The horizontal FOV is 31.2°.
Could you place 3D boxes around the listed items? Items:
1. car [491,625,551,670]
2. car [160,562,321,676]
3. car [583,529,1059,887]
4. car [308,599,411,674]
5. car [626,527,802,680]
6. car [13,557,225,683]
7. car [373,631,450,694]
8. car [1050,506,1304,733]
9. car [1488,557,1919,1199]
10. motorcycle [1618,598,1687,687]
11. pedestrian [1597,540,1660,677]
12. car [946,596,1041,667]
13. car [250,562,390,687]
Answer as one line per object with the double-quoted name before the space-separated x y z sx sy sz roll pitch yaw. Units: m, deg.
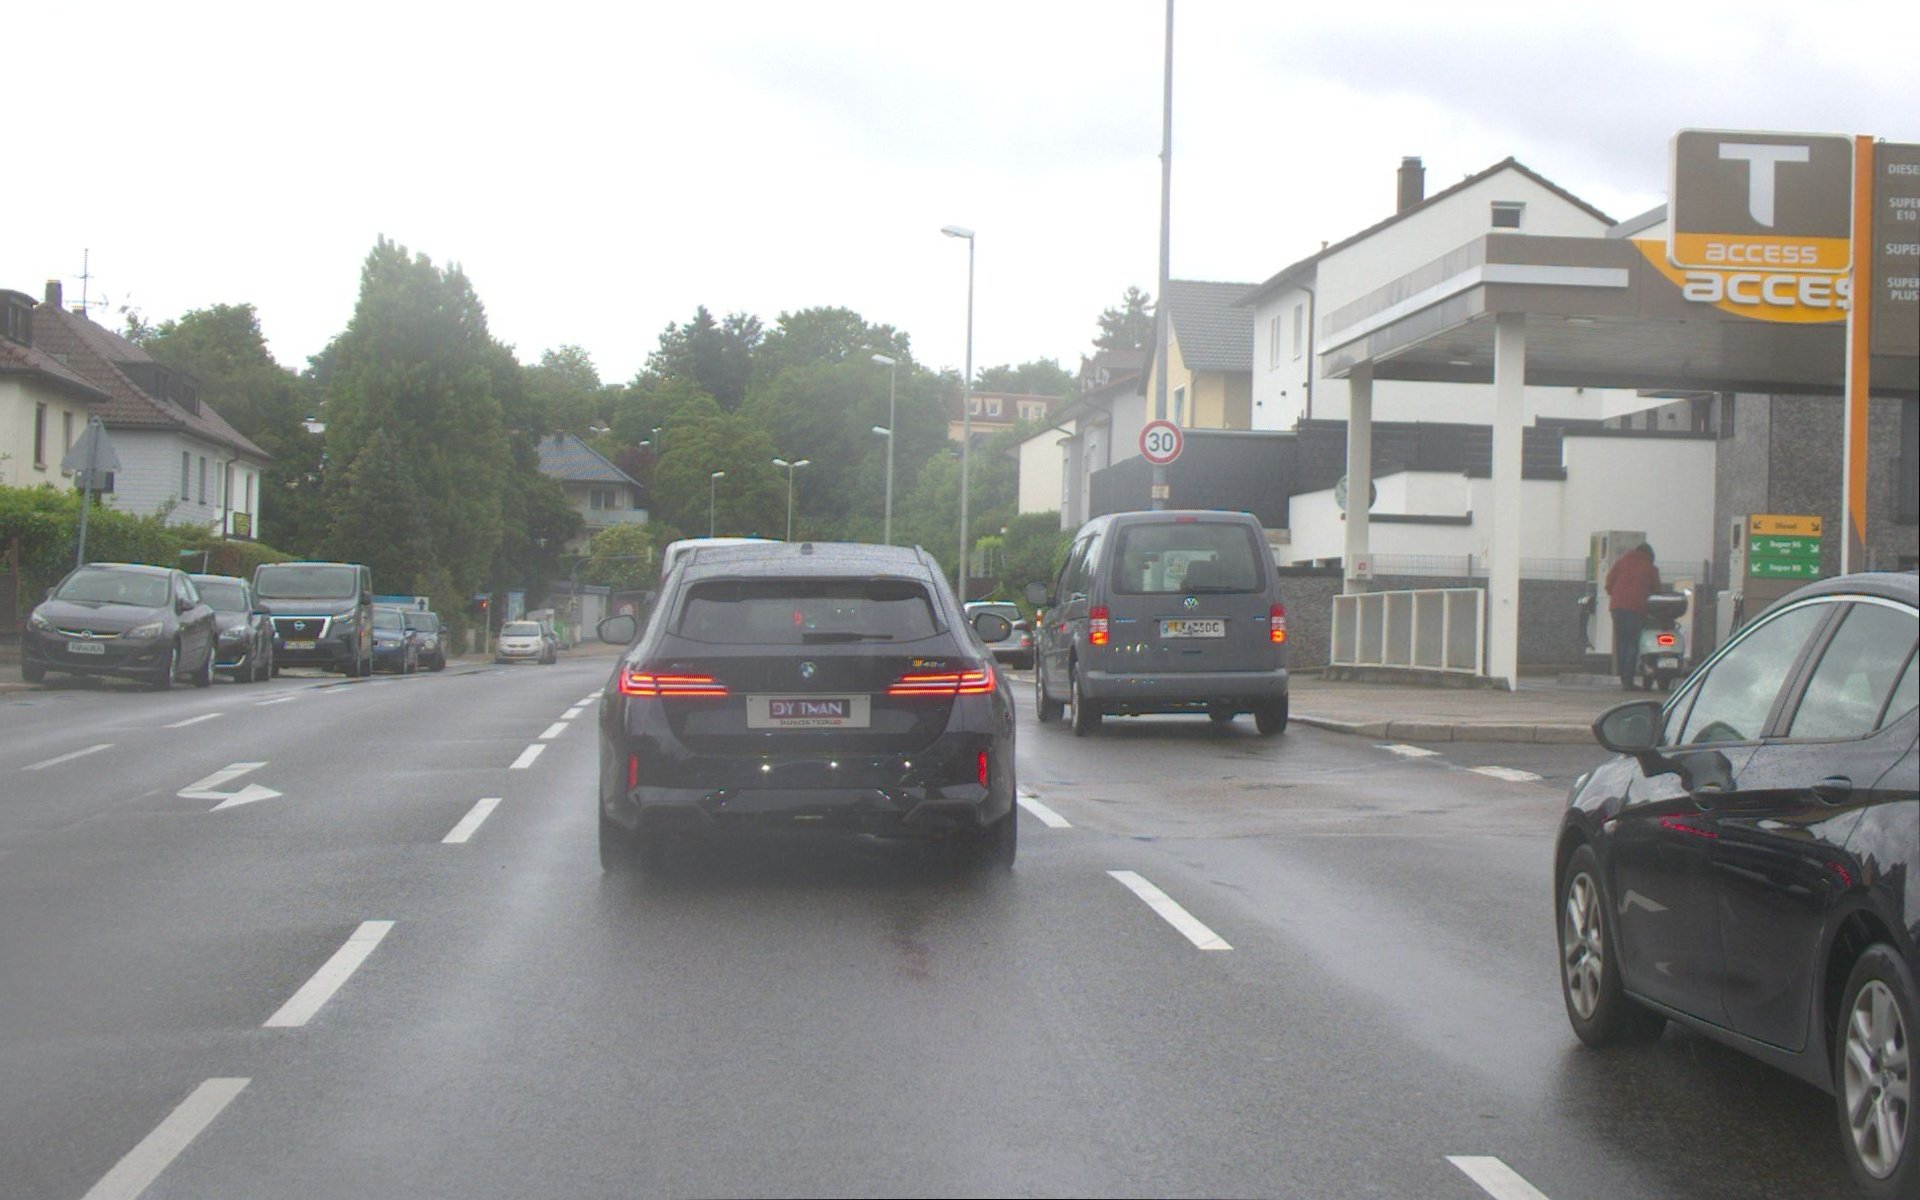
"car" -16.166 1.749 126.768 1.884 1.580 4.000 1 -1 -4
"car" -10.144 0.295 48.726 1.750 1.512 4.528 1 -1 -6
"car" -0.697 0.495 16.587 1.993 1.479 4.000 1 -1 -3
"car" -12.889 0.791 73.978 1.757 1.527 4.287 1 -1 -5
"car" -2.951 0.076 41.984 1.993 1.732 4.000 1 -1 -2
"car" -10.246 0.267 42.148 1.750 1.435 4.130 1 -1 -3
"car" -12.805 1.459 80.384 1.550 1.426 4.015 1 -1 -6
"car" 1.771 0.190 29.190 1.838 1.761 4.000 1 -1 0
"car" 2.768 0.632 8.958 1.756 1.444 4.001 1 1 -6
"motorcycle" 8.419 0.523 41.818 0.462 1.052 1.390 1 -1 -4
"pedestrian" 8.164 0.106 41.999 0.610 1.650 0.586 1 -1 -4
"car" 0.712 0.716 76.232 1.700 1.505 4.535 1 -1 -4
"car" -10.875 0.439 58.688 1.912 1.996 5.088 1 -1 -6
